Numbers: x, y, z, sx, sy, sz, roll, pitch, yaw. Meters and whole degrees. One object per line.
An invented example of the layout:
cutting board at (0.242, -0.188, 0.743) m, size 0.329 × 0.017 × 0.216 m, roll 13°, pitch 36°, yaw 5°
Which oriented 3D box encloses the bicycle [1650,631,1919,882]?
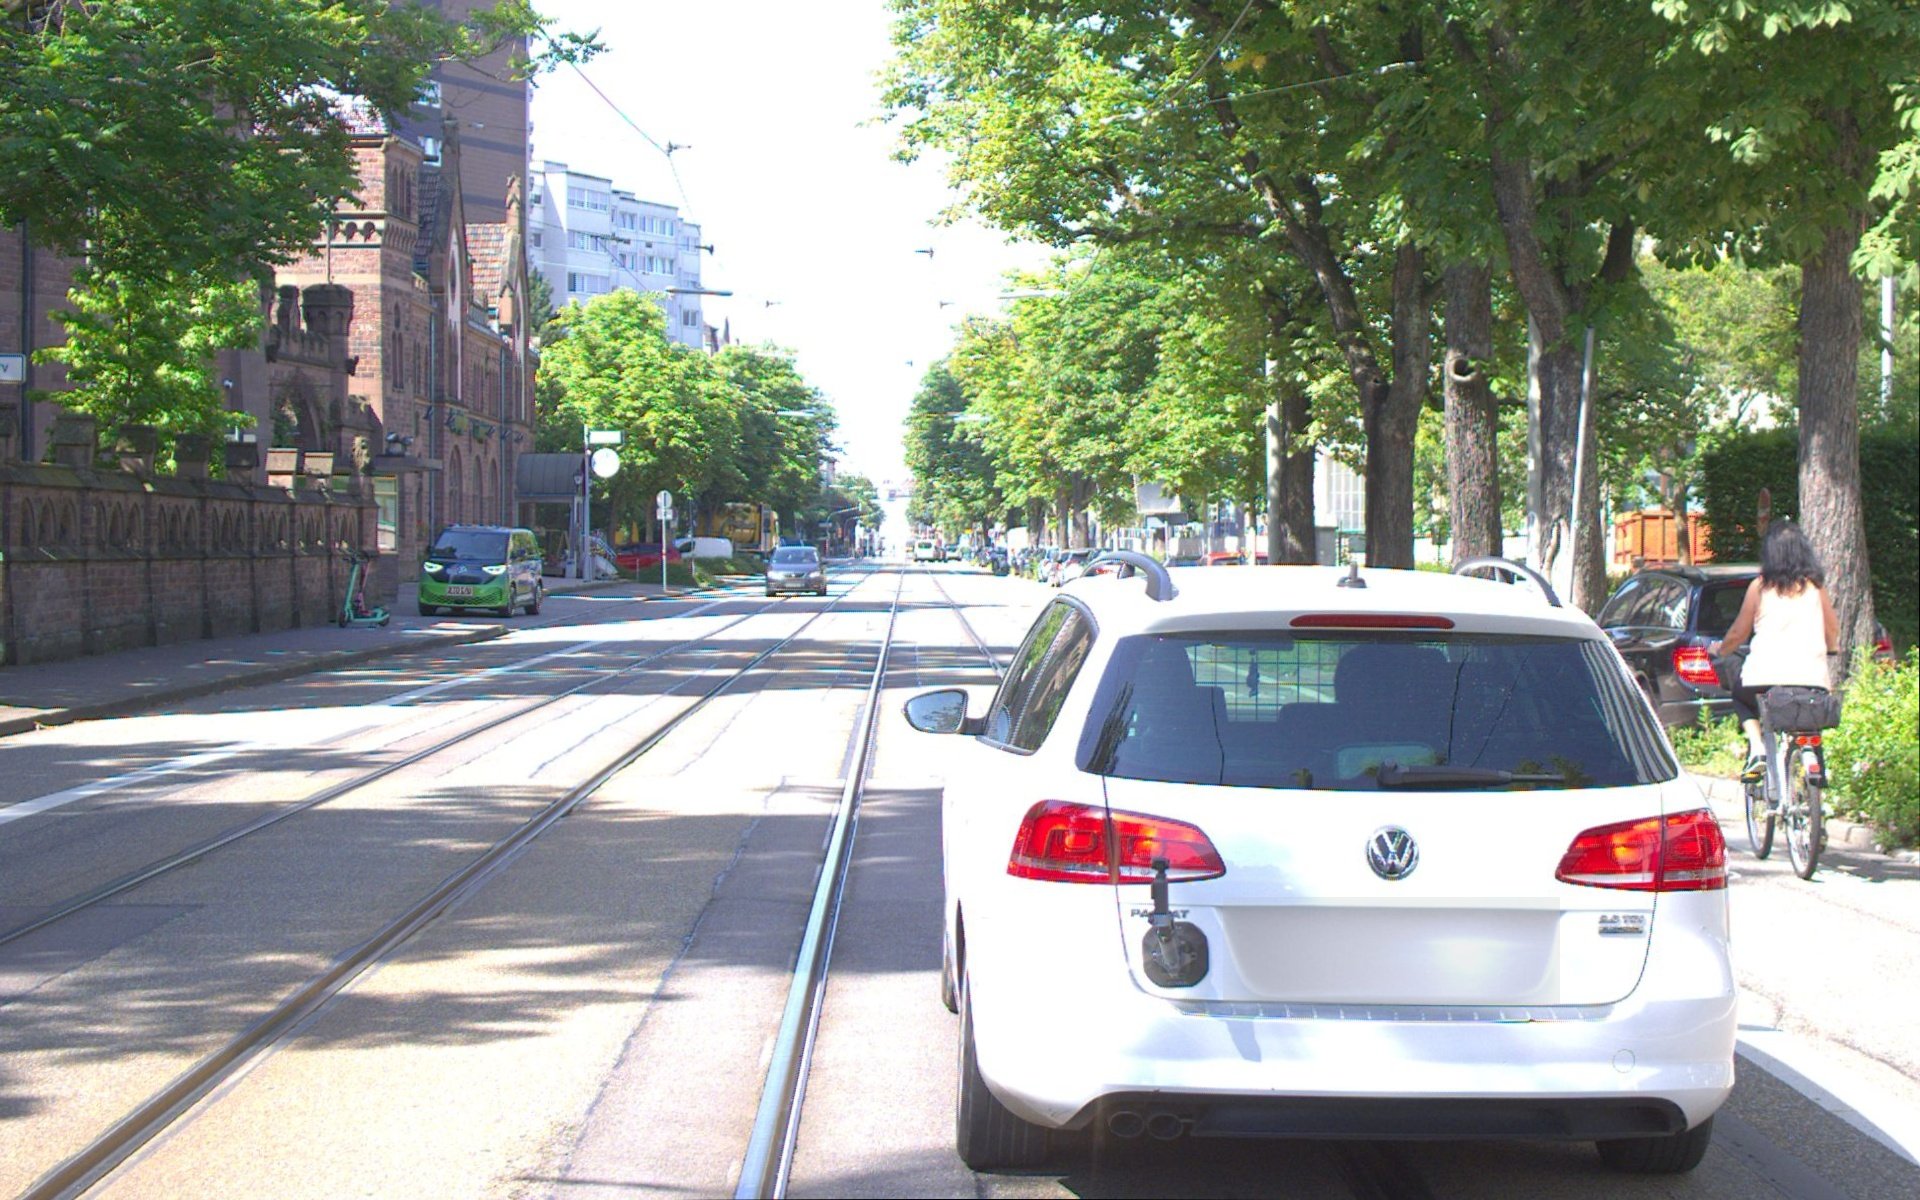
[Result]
bicycle at (3.959, 0.722, 16.653) m, size 0.811 × 1.074 × 2.012 m, roll 1°, pitch 1°, yaw 0°

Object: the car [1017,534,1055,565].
car at (3.536, -2.355, 160.182) m, size 1.713 × 1.396 × 3.843 m, roll 0°, pitch 1°, yaw 0°

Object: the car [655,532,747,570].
car at (-12.513, -2.389, 166.152) m, size 3.988 × 1.809 × 2.000 m, roll -1°, pitch 1°, yaw -36°

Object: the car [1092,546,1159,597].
car at (4.645, -0.808, 96.826) m, size 1.713 × 1.396 × 3.843 m, roll 0°, pitch 1°, yaw 0°

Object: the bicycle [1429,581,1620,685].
bicycle at (5.563, 0.324, 33.915) m, size 1.787 × 1.007 × 0.488 m, roll 0°, pitch 1°, yaw -5°

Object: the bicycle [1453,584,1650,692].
bicycle at (5.631, 0.357, 32.754) m, size 1.787 × 1.007 × 0.488 m, roll 0°, pitch 1°, yaw -5°

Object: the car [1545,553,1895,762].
car at (5.749, 0.370, 26.541) m, size 1.664 × 1.439 × 4.633 m, roll 0°, pitch 1°, yaw 0°

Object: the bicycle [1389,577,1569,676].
bicycle at (5.384, 0.274, 35.700) m, size 1.787 × 1.007 × 0.488 m, roll 0°, pitch 1°, yaw -5°

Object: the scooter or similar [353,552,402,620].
scooter or similar at (-10.329, -0.255, 60.985) m, size 0.423 × 1.196 × 1.142 m, roll 0°, pitch 1°, yaw 14°

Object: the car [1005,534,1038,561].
car at (3.223, -2.783, 180.659) m, size 1.713 × 1.396 × 3.843 m, roll 0°, pitch 1°, yaw 0°

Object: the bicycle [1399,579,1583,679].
bicycle at (5.430, 0.289, 35.181) m, size 1.787 × 1.007 × 0.488 m, roll 0°, pitch 1°, yaw -5°

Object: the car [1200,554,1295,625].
car at (5.449, -0.222, 65.525) m, size 1.713 × 1.276 × 3.843 m, roll 0°, pitch 1°, yaw 4°

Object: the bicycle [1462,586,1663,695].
bicycle at (5.632, 0.373, 32.167) m, size 1.787 × 1.007 × 0.488 m, roll 0°, pitch 1°, yaw -5°

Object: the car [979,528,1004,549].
car at (2.160, -4.200, 235.495) m, size 1.713 × 1.396 × 3.843 m, roll 0°, pitch 1°, yaw 0°

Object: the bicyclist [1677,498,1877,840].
bicyclist at (3.951, 0.322, 16.674) m, size 0.786 × 1.623 × 0.738 m, roll 0°, pitch 1°, yaw 0°

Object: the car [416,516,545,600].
car at (-10.280, -0.922, 73.991) m, size 1.993 × 1.751 × 4.712 m, roll 0°, pitch 1°, yaw 2°

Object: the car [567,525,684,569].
car at (-12.944, -2.053, 133.001) m, size 4.116 × 1.525 × 1.933 m, roll 2°, pitch 1°, yaw -22°

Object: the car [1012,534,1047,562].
car at (3.453, -2.607, 171.415) m, size 1.713 × 1.396 × 3.843 m, roll 0°, pitch 1°, yaw 0°

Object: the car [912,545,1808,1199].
car at (0.793, 0.596, 9.261) m, size 1.753 × 1.437 × 4.413 m, roll 1°, pitch 1°, yaw -2°

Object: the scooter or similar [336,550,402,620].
scooter or similar at (-9.918, -0.259, 57.717) m, size 0.405 × 1.151 × 1.141 m, roll 1°, pitch 1°, yaw 34°

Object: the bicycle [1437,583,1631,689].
bicycle at (5.559, 0.341, 33.327) m, size 1.787 × 1.007 × 0.488 m, roll 0°, pitch 1°, yaw -5°

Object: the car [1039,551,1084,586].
car at (4.123, -1.284, 140.441) m, size 1.713 × 1.396 × 3.843 m, roll 0°, pitch 1°, yaw 0°

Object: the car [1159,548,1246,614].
car at (5.281, -0.427, 75.204) m, size 1.713 × 1.396 × 3.843 m, roll 0°, pitch 1°, yaw 1°

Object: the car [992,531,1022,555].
car at (2.762, -3.331, 201.778) m, size 1.713 × 1.396 × 3.843 m, roll 0°, pitch 1°, yaw 0°

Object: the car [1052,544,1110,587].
car at (4.028, -1.157, 114.895) m, size 1.713 × 1.396 × 3.843 m, roll 0°, pitch 1°, yaw -1°

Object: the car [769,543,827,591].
car at (-4.679, -0.970, 99.524) m, size 1.493 × 1.380 × 3.643 m, roll 0°, pitch 1°, yaw 0°

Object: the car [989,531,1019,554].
car at (2.639, -3.453, 206.165) m, size 1.713 × 1.396 × 3.843 m, roll 0°, pitch 1°, yaw 0°
